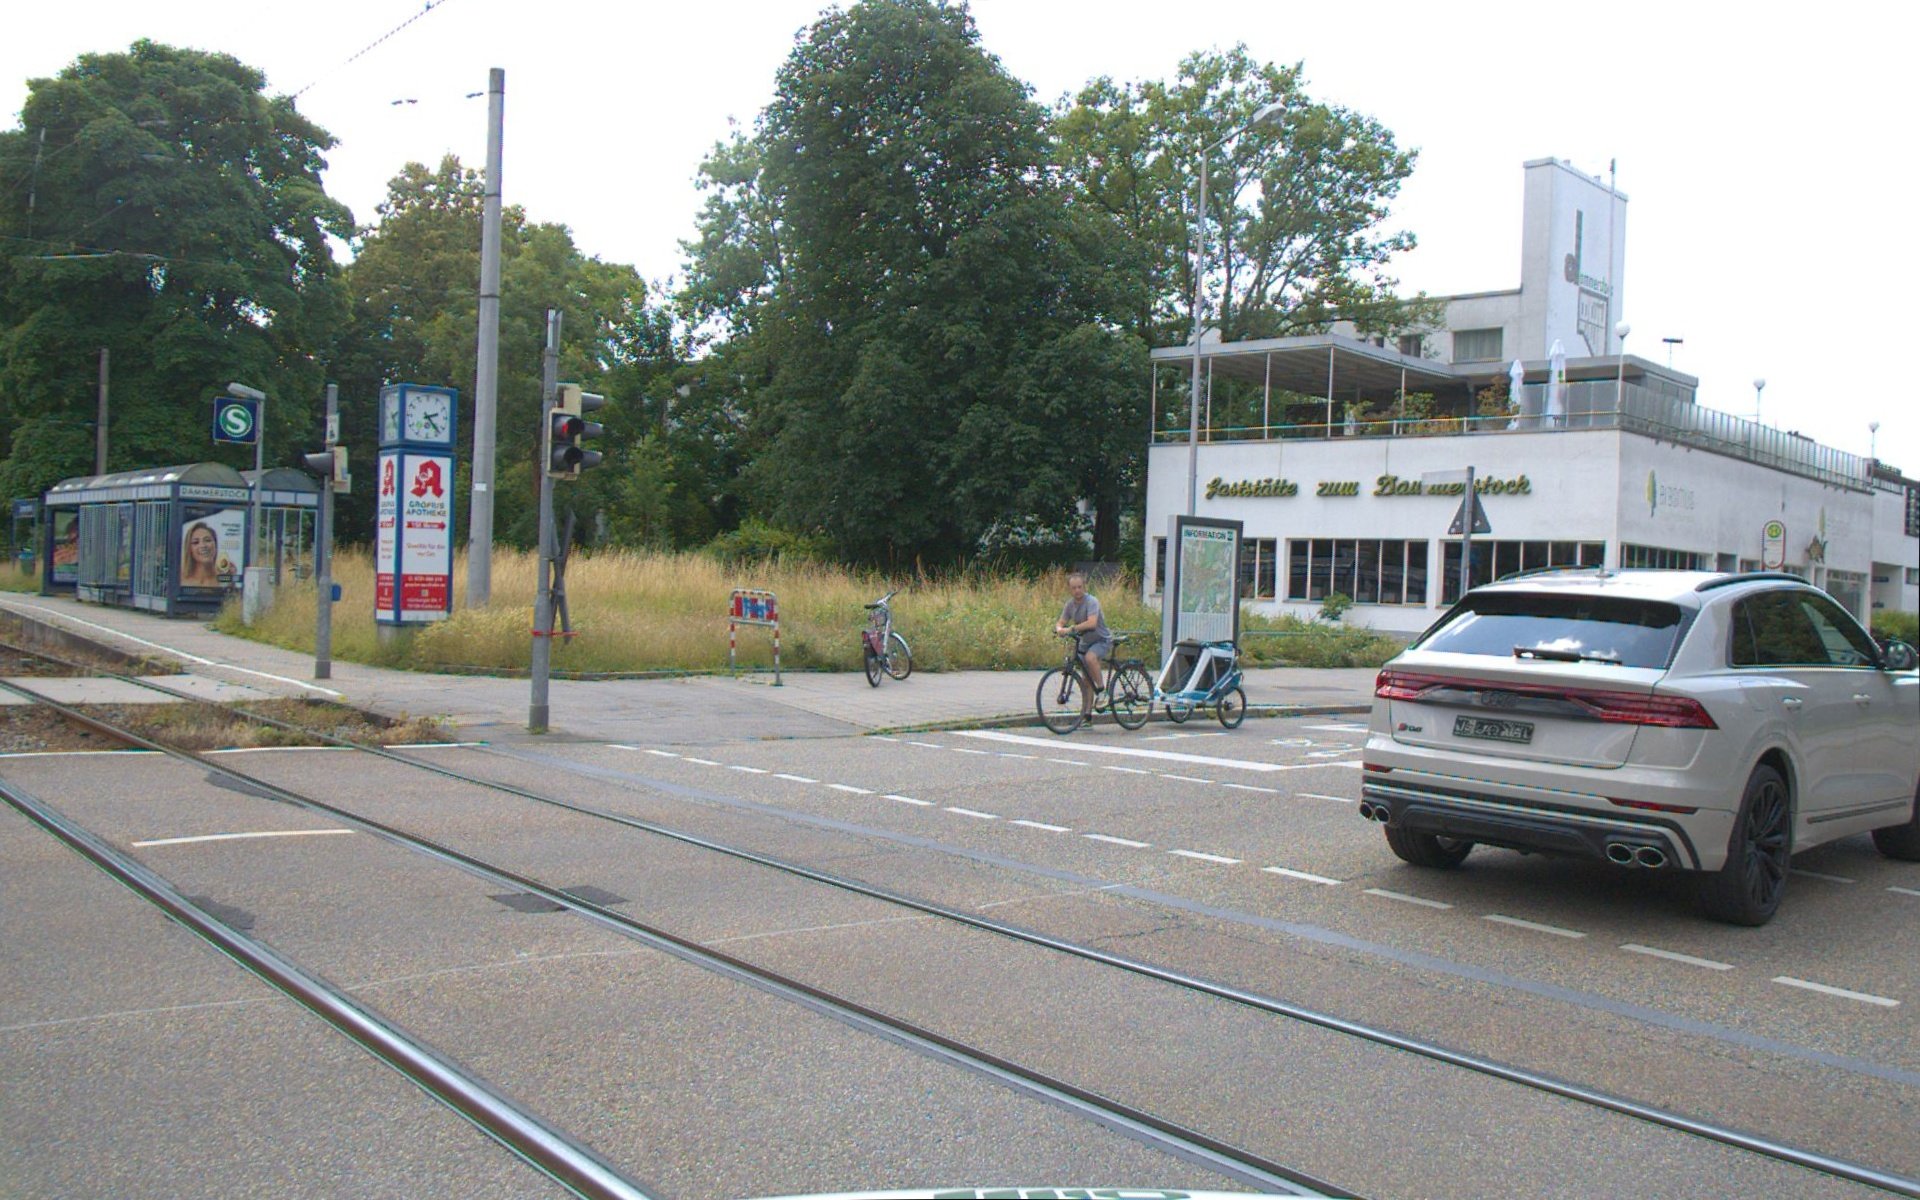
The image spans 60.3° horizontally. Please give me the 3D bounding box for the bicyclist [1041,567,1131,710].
[{"bbox_3d":[1.356,0.408,17.784,0.833,1.501,0.449,2,0,-37],"label":"bicyclist"}]

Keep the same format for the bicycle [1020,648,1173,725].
[{"bbox_3d":[1.491,0.937,17.905,1.709,0.778,0.548,3,-1,-37],"label":"bicycle"}]

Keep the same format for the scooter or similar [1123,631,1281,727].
[{"bbox_3d":[2.745,0.866,18.723,1.562,0.996,0.950,1,1,-37],"label":"scooter or similar"}]

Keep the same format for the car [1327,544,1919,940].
[{"bbox_3d":[4.199,0.625,9.535,1.955,1.713,4.541,2,1,44],"label":"car"}]

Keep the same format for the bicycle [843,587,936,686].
[{"bbox_3d":[-0.894,0.445,21.414,0.684,1.152,1.662,2,2,16],"label":"bicycle"}]
